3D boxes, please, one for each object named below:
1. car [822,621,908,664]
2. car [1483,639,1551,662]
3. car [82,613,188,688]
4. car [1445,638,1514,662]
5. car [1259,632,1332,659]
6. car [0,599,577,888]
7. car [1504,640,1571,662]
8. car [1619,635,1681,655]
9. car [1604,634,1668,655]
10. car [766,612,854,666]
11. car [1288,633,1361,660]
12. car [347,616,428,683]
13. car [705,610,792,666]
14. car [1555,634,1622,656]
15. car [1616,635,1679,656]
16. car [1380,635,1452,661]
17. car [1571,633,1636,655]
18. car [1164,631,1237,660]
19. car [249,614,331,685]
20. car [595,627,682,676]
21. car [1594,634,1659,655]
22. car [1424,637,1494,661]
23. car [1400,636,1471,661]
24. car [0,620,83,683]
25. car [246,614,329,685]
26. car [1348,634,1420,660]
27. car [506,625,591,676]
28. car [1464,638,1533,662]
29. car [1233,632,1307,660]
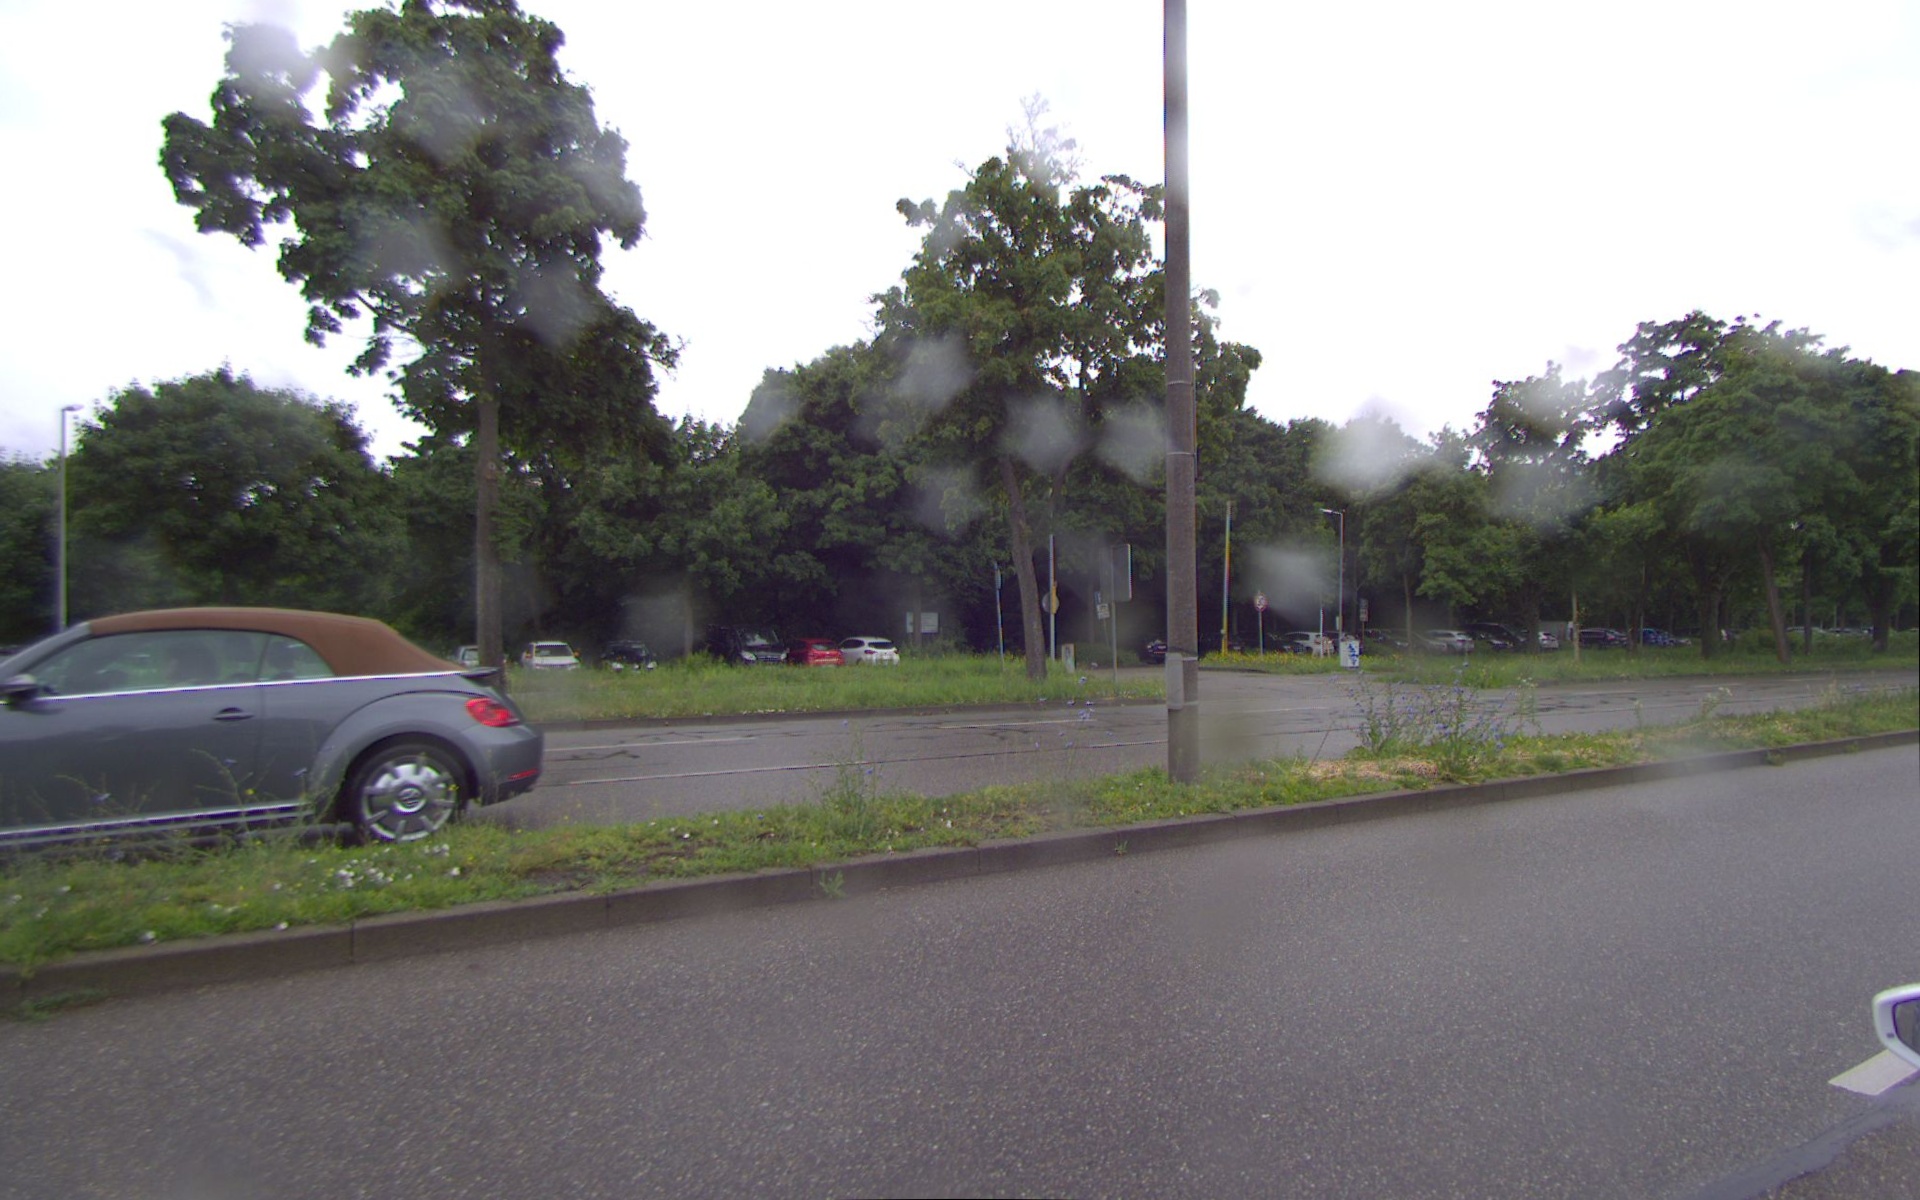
[{"bbox_3d":[-3.942,1.720,41.275,1.892,1.661,3.963,1,-2,-34],"label":"car"},{"bbox_3d":[38.044,3.426,68.713,1.509,1.471,3.812,1,-2,-34],"label":"car"},{"bbox_3d":[-24.175,1.425,29.574,1.979,2.040,3.963,1,-2,-34],"label":"car"},{"bbox_3d":[33.977,3.239,65.754,1.509,1.471,3.812,1,-2,-34],"label":"car"},{"bbox_3d":[18.897,2.545,56.637,1.509,1.471,3.812,1,-2,-34],"label":"car"},{"bbox_3d":[-4.555,0.762,6.343,3.763,1.469,1.819,1,-1,-30],"label":"car"},{"bbox_3d":[40.134,3.519,69.851,1.509,1.471,3.812,1,-2,-34],"label":"car"},{"bbox_3d":[54.512,3.544,79.394,1.515,1.471,3.798,2,-2,-44],"label":"car"},{"bbox_3d":[50.825,3.317,75.542,1.515,1.471,3.798,2,-2,-44],"label":"car"},{"bbox_3d":[-6.021,1.521,40.056,1.979,2.040,3.963,1,-2,-34],"label":"car"},{"bbox_3d":[21.074,2.645,58.162,1.509,1.471,3.812,1,-2,-34],"label":"car"},{"bbox_3d":[-18.632,1.558,32.615,1.979,2.040,3.963,1,-2,-34],"label":"car"},{"bbox_3d":[-8.218,1.450,38.796,1.979,2.040,3.963,1,-2,-34],"label":"car"},{"bbox_3d":[44.963,3.199,71.940,1.513,1.471,3.802,1,-2,-41],"label":"car"},{"bbox_3d":[52.853,3.481,77.246,1.515,1.471,3.798,2,-2,-44],"label":"car"},{"bbox_3d":[27.947,2.936,61.658,1.509,1.471,3.812,1,-2,-34],"label":"car"},{"bbox_3d":[46.907,3.191,73.262,1.515,1.471,3.798,2,-2,-44],"label":"car"},{"bbox_3d":[12.550,2.336,52.526,1.473,1.445,3.711,1,-2,-34],"label":"car"},{"bbox_3d":[-20.763,1.491,31.171,1.979,2.040,3.963,1,-2,-34],"label":"car"},{"bbox_3d":[-11.624,1.804,36.177,1.979,1.639,3.962,1,-1,-34],"label":"car"},{"bbox_3d":[49.383,3.269,74.458,1.515,1.471,3.798,2,-2,-44],"label":"car"},{"bbox_3d":[32.024,3.136,64.531,1.509,1.471,3.812,1,-2,-34],"label":"car"},{"bbox_3d":[29.839,3.025,63.163,1.509,1.471,3.812,1,-2,-34],"label":"car"},{"bbox_3d":[-26.166,1.403,28.189,1.804,1.661,3.963,1,-2,-34],"label":"car"},{"bbox_3d":[-20.810,1.486,31.125,1.979,2.040,3.963,1,-2,-34],"label":"car"},{"bbox_3d":[25.567,2.818,60.651,1.509,1.471,3.812,1,-2,-34],"label":"car"},{"bbox_3d":[-14.378,1.719,35.025,1.979,1.639,3.962,1,-1,-34],"label":"car"},{"bbox_3d":[35.964,3.328,67.196,1.509,1.471,3.812,1,-2,-34],"label":"car"},{"bbox_3d":[16.979,2.486,55.124,1.509,1.471,3.812,1,-2,-34],"label":"car"}]
